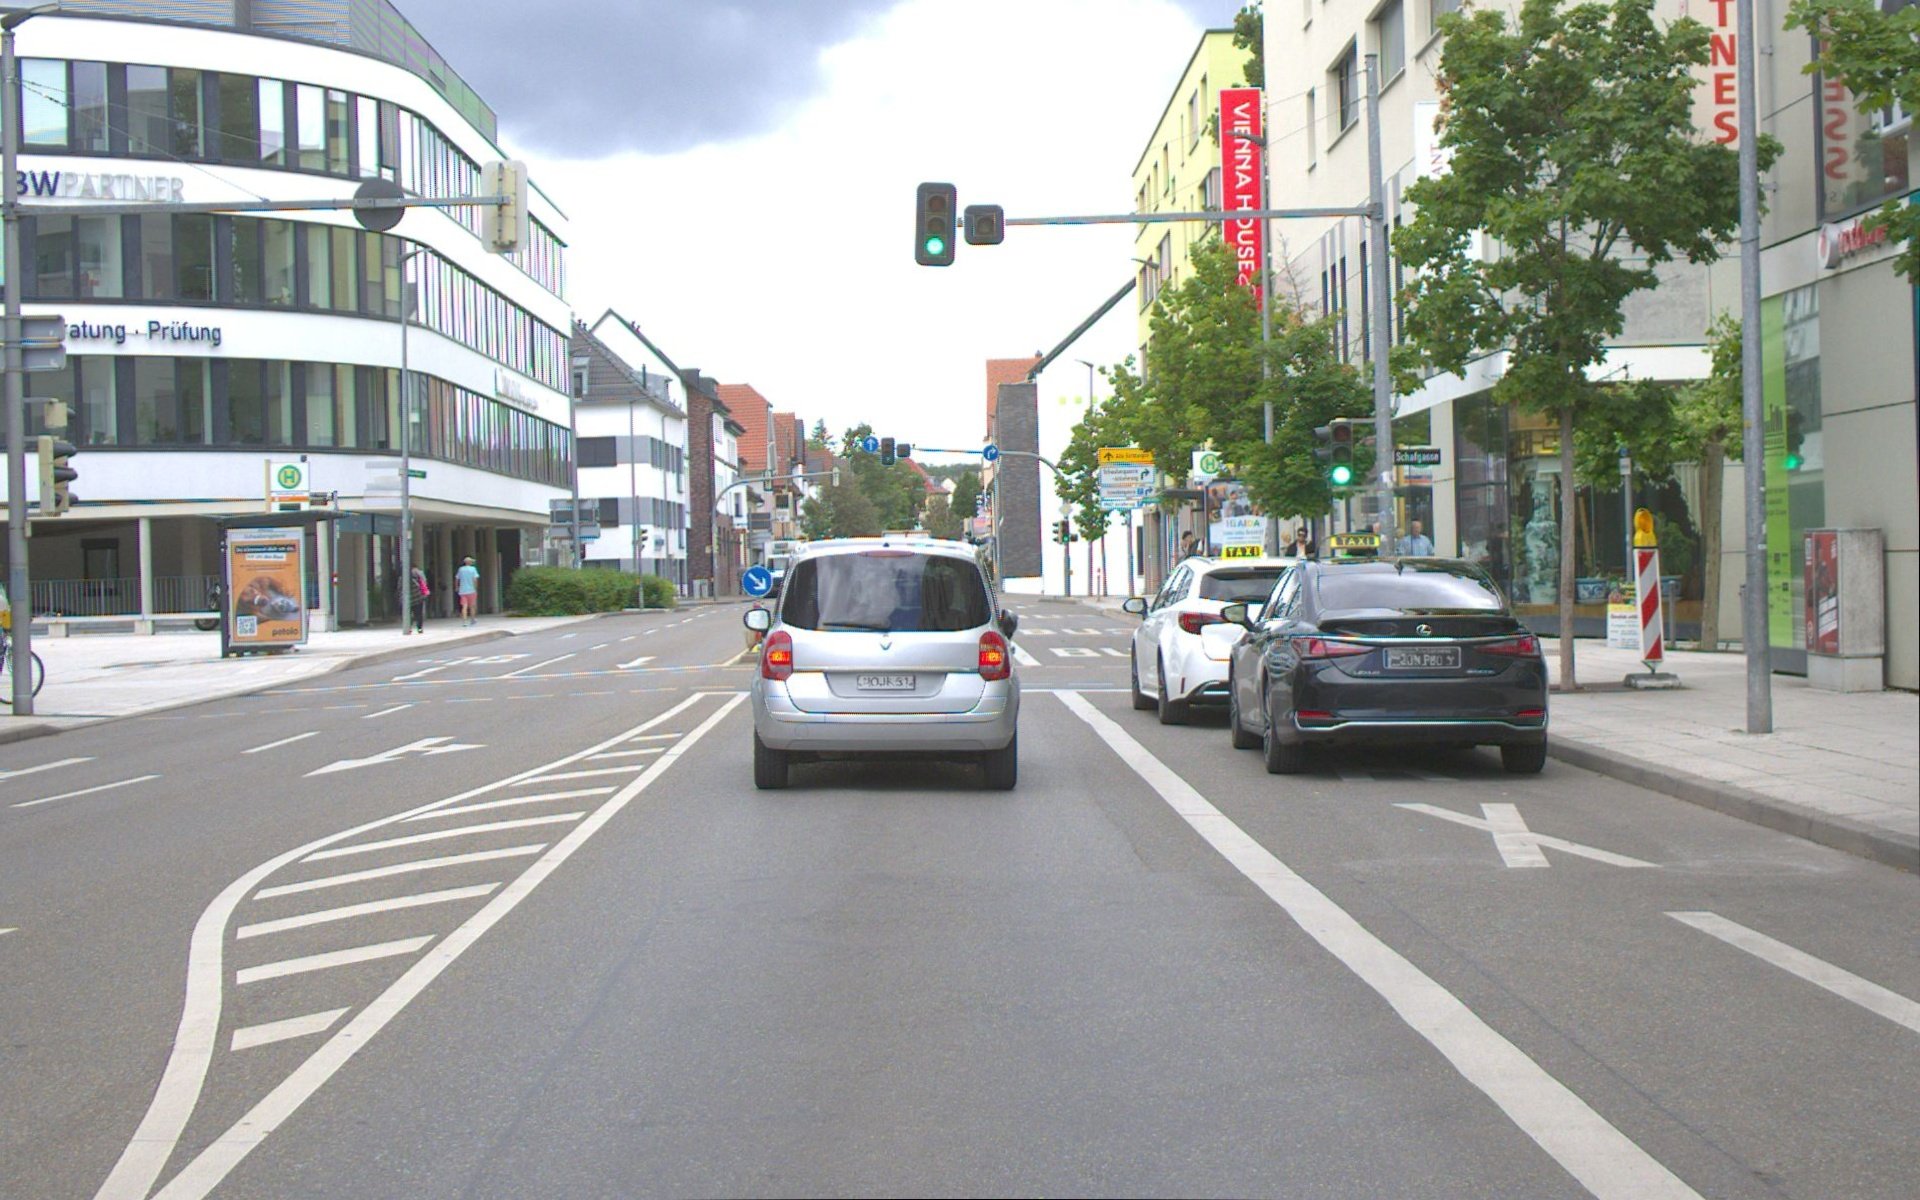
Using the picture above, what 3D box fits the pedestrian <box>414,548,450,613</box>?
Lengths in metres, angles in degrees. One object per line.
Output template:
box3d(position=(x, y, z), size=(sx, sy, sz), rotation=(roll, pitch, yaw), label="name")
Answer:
box3d(position=(-13.325, -0.493, 86.781), size=(0.730, 1.608, 0.931), rotation=(0, 0, 1), label="pedestrian")

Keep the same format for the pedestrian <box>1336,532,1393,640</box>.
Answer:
box3d(position=(6.091, -0.218, 51.791), size=(0.740, 1.603, 0.715), rotation=(-1, 1, 0), label="pedestrian")

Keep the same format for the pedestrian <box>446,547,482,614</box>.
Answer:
box3d(position=(-12.357, -0.489, 85.688), size=(0.730, 1.668, 0.931), rotation=(0, 0, 1), label="pedestrian")

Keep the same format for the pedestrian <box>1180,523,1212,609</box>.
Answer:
box3d(position=(4.930, -0.703, 71.760), size=(0.579, 1.763, 0.856), rotation=(-2, 0, 5), label="pedestrian")

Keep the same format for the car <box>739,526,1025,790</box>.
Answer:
box3d(position=(-0.500, 0.331, 22.766), size=(1.706, 1.573, 4.000), rotation=(1, 1, -1), label="car")

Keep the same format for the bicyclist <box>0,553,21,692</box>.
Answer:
box3d(position=(-11.762, 0.260, 41.112), size=(0.782, 1.643, 0.638), rotation=(1, 1, 15), label="bicyclist")

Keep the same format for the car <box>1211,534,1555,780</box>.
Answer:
box3d(position=(2.852, 0.339, 24.152), size=(1.736, 1.536, 4.790), rotation=(1, 1, -1), label="car")

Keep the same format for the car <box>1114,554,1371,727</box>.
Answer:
box3d(position=(2.429, 0.310, 30.578), size=(1.782, 1.420, 4.515), rotation=(0, 1, -2), label="car")

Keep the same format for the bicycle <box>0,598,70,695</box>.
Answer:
box3d(position=(-11.709, 0.536, 41.092), size=(2.001, 1.126, 0.638), rotation=(1, 1, 15), label="bicycle")

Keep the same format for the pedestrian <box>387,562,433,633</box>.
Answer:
box3d(position=(-12.167, -0.068, 76.069), size=(0.830, 1.562, 0.813), rotation=(0, 0, 5), label="pedestrian")

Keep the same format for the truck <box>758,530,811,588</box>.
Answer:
box3d(position=(-9.286, -2.171, 182.848), size=(2.435, 2.943, 8.365), rotation=(-2, 1, -1), label="truck")

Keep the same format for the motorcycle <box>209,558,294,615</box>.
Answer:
box3d(position=(-16.768, -0.326, 81.403), size=(1.855, 1.328, 0.636), rotation=(1, 0, 3), label="motorcycle")

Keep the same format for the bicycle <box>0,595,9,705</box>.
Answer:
box3d(position=(-11.431, 0.521, 38.133), size=(2.029, 1.202, 0.746), rotation=(2, 1, 44), label="bicycle")

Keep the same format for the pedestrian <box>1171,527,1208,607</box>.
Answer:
box3d(position=(4.885, -0.704, 73.082), size=(0.721, 1.678, 0.732), rotation=(-2, 0, 5), label="pedestrian")

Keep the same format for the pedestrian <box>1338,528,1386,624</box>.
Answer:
box3d(position=(7.089, -0.425, 60.674), size=(0.744, 1.663, 0.614), rotation=(-1, 1, 0), label="pedestrian")

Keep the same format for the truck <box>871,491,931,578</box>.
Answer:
box3d(position=(-2.671, -2.959, 156.627), size=(2.595, 3.844, 6.849), rotation=(-1, 1, 0), label="truck")

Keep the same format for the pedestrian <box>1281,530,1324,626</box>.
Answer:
box3d(position=(6.003, -0.384, 60.260), size=(0.655, 1.663, 0.614), rotation=(-1, 1, 0), label="pedestrian")
